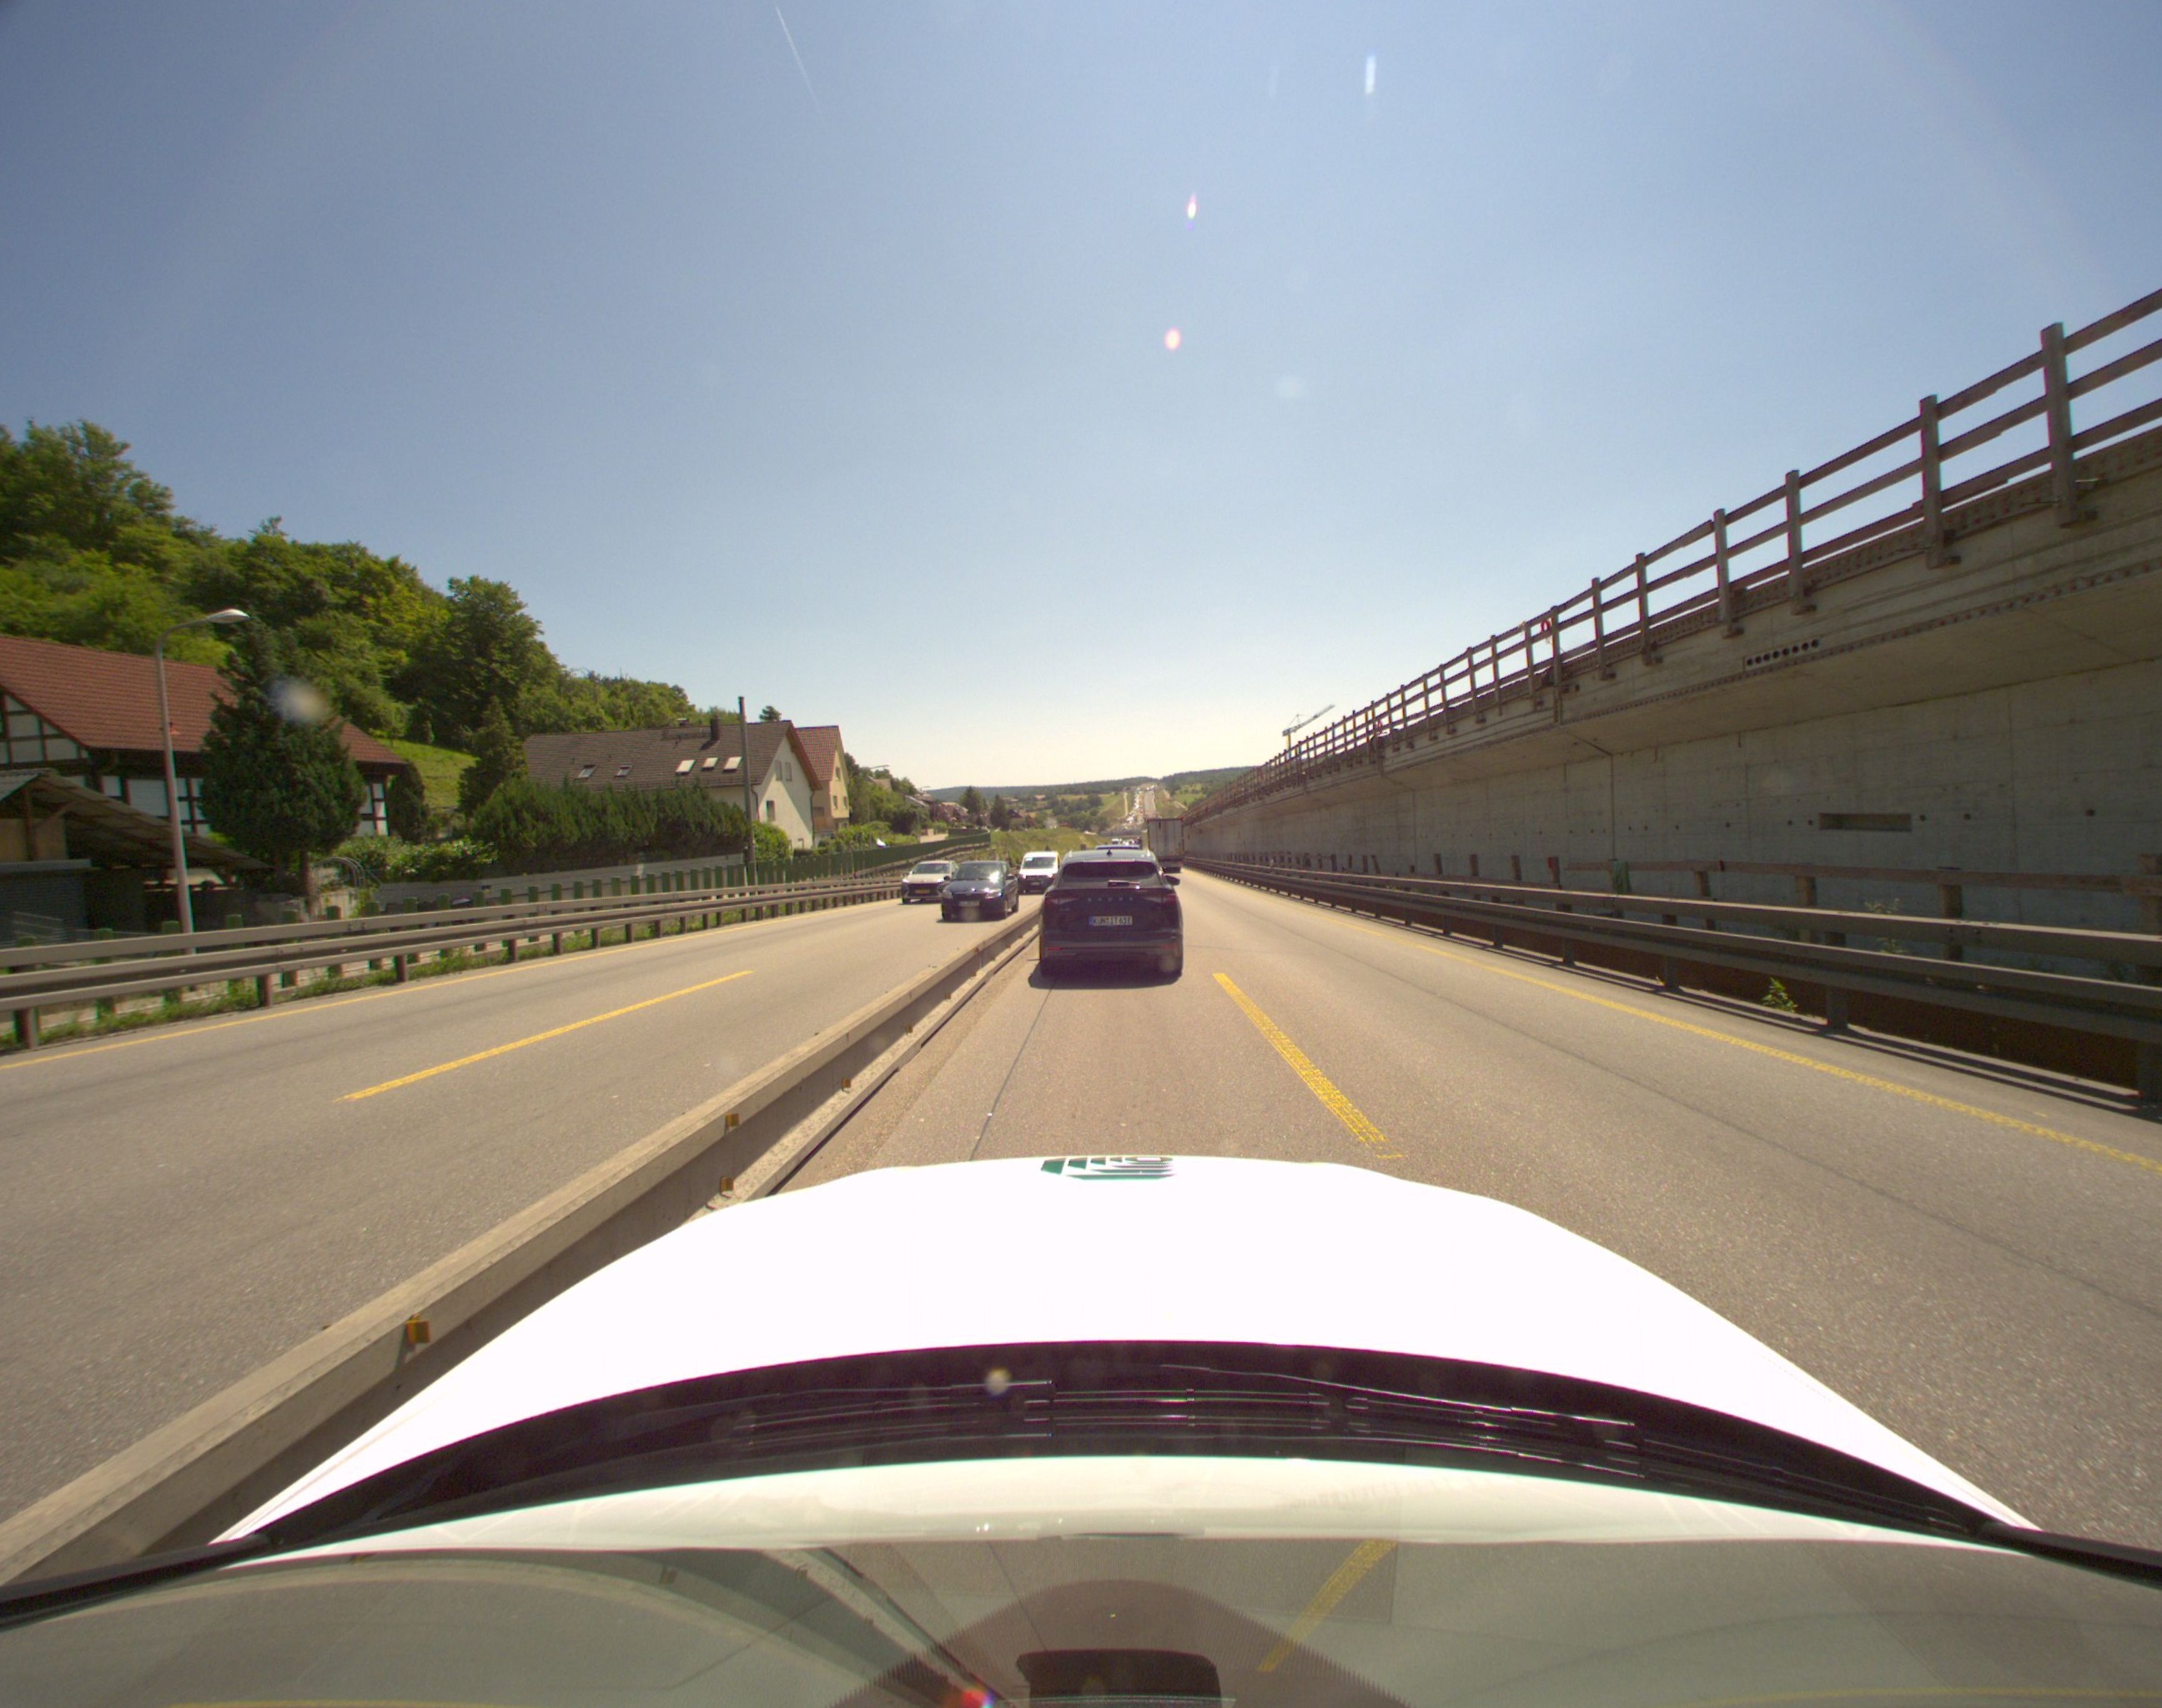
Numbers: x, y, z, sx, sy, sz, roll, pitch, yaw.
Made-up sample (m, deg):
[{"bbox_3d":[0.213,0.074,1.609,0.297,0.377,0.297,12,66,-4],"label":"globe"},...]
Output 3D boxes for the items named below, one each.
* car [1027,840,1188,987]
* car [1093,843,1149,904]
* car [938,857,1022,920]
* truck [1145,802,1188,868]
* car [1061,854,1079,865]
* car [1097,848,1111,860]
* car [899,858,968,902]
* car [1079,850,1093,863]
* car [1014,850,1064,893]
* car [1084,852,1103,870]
[{"bbox_3d":[0.397,0.700,11.355,1.775,1.597,3.758,-4,0,3],"label":"car"},{"bbox_3d":[1.329,0.612,27.732,1.743,1.895,3.756,-1,0,1],"label":"car"},{"bbox_3d":[-2.604,0.850,21.799,1.565,1.461,4.215,-1,0,2],"label":"car"},{"bbox_3d":[6.586,-1.310,64.391,2.833,4.615,11.824,-3,-1,4],"label":"truck"},{"bbox_3d":[-1.368,0.717,104.210,1.986,1.442,4.366,0,-1,2],"label":"car"},{"bbox_3d":[4.064,0.016,141.881,2.148,1.906,5.330,-2,-1,3],"label":"car"},{"bbox_3d":[-5.429,0.920,30.372,1.695,1.479,3.975,-1,0,1],"label":"car"},{"bbox_3d":[0.800,0.358,130.125,1.821,1.926,5.237,-2,0,-3],"label":"car"},{"bbox_3d":[-1.759,0.732,35.655,1.802,1.740,4.258,-1,0,1],"label":"car"},{"bbox_3d":[1.481,0.838,97.857,1.985,2.014,4.973,-3,-1,3],"label":"car"}]
